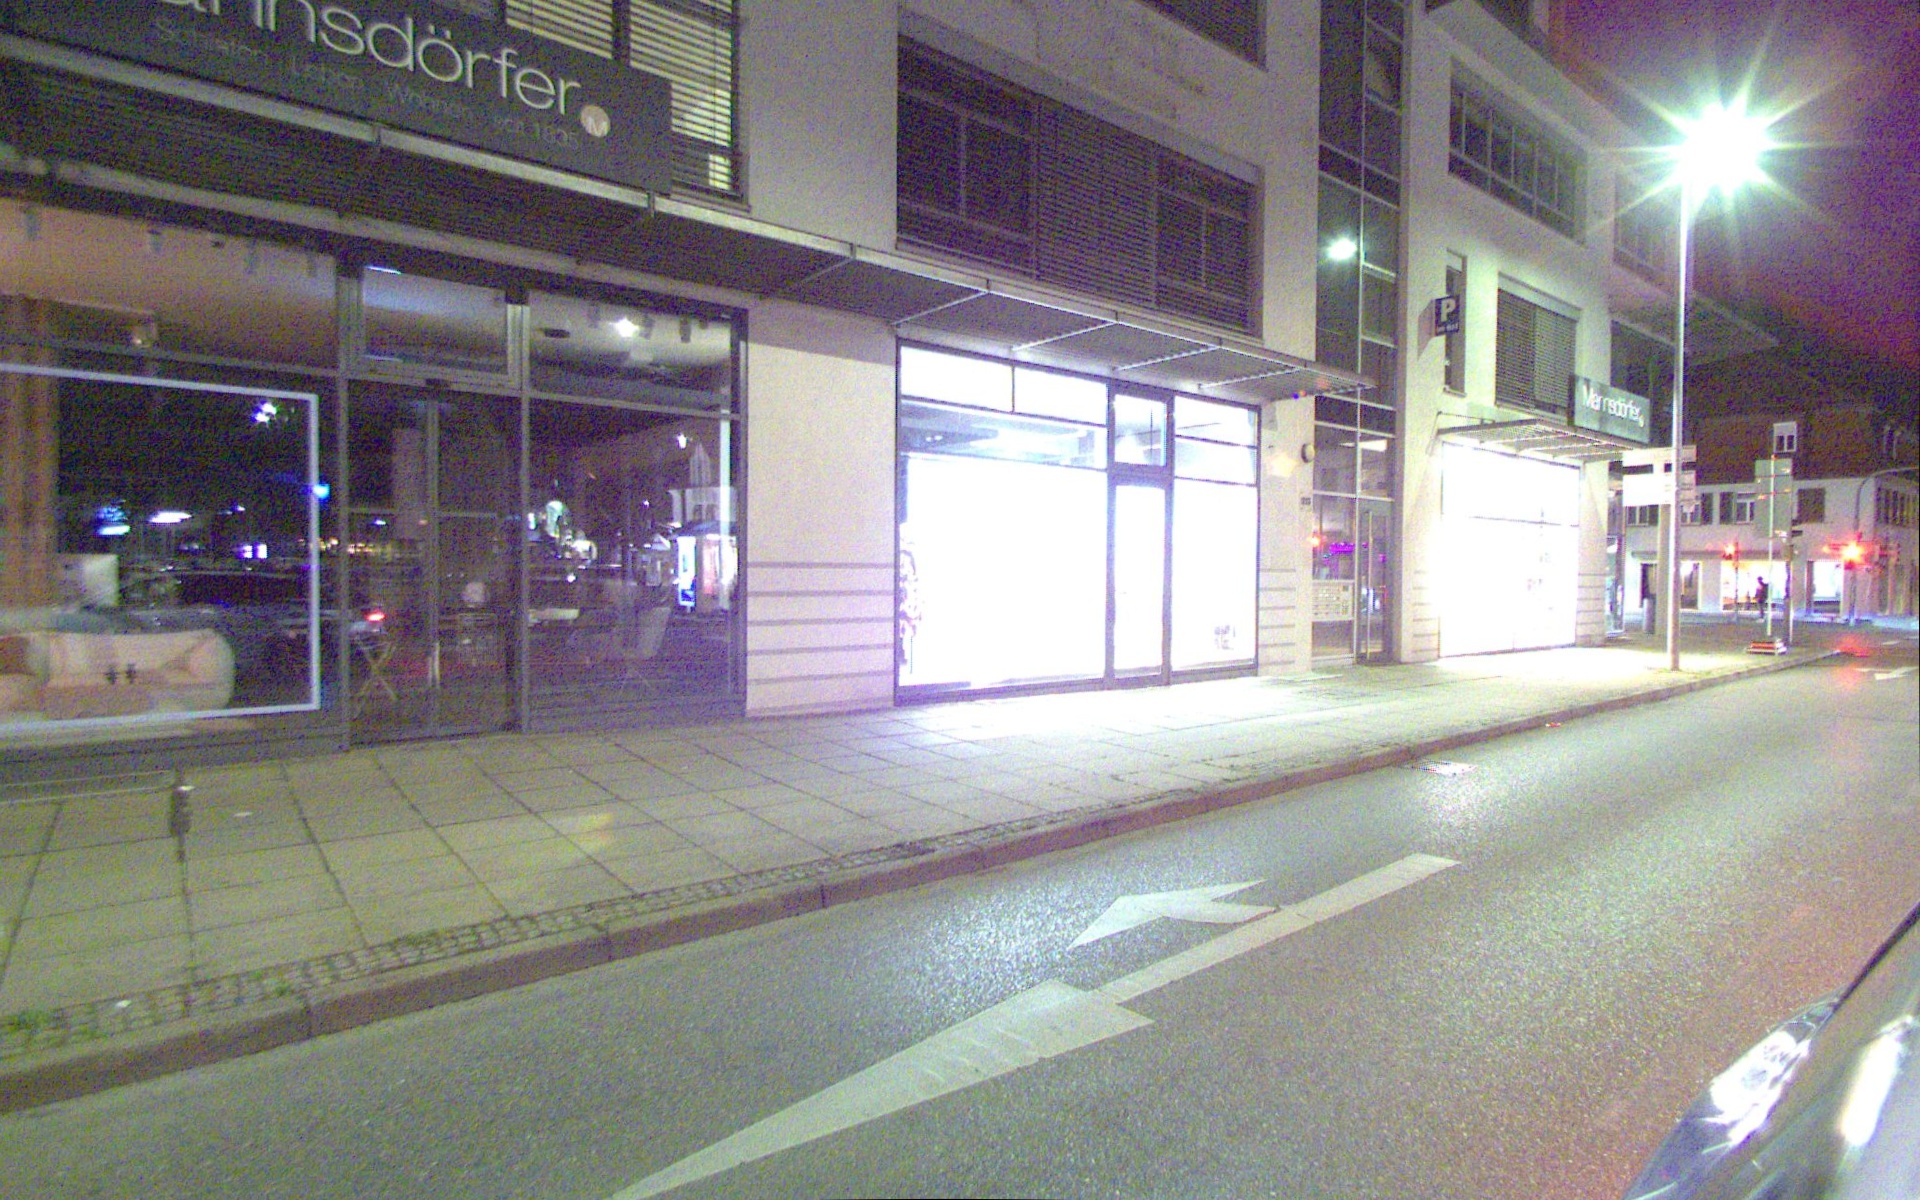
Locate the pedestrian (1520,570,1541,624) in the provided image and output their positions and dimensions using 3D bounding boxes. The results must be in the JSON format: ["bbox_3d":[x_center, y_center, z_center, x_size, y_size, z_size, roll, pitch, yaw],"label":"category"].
[{"bbox_3d":[18.239,-0.099,32.363,0.478,1.708,0.407,0,0,-36],"label":"pedestrian"}]

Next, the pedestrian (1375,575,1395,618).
[{"bbox_3d":[17.428,-0.144,41.502,0.556,1.738,0.525,0,0,-33],"label":"pedestrian"}]

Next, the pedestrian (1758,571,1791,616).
[{"bbox_3d":[32.623,-0.285,40.532,0.635,1.755,0.877,0,2,-37],"label":"pedestrian"}]
